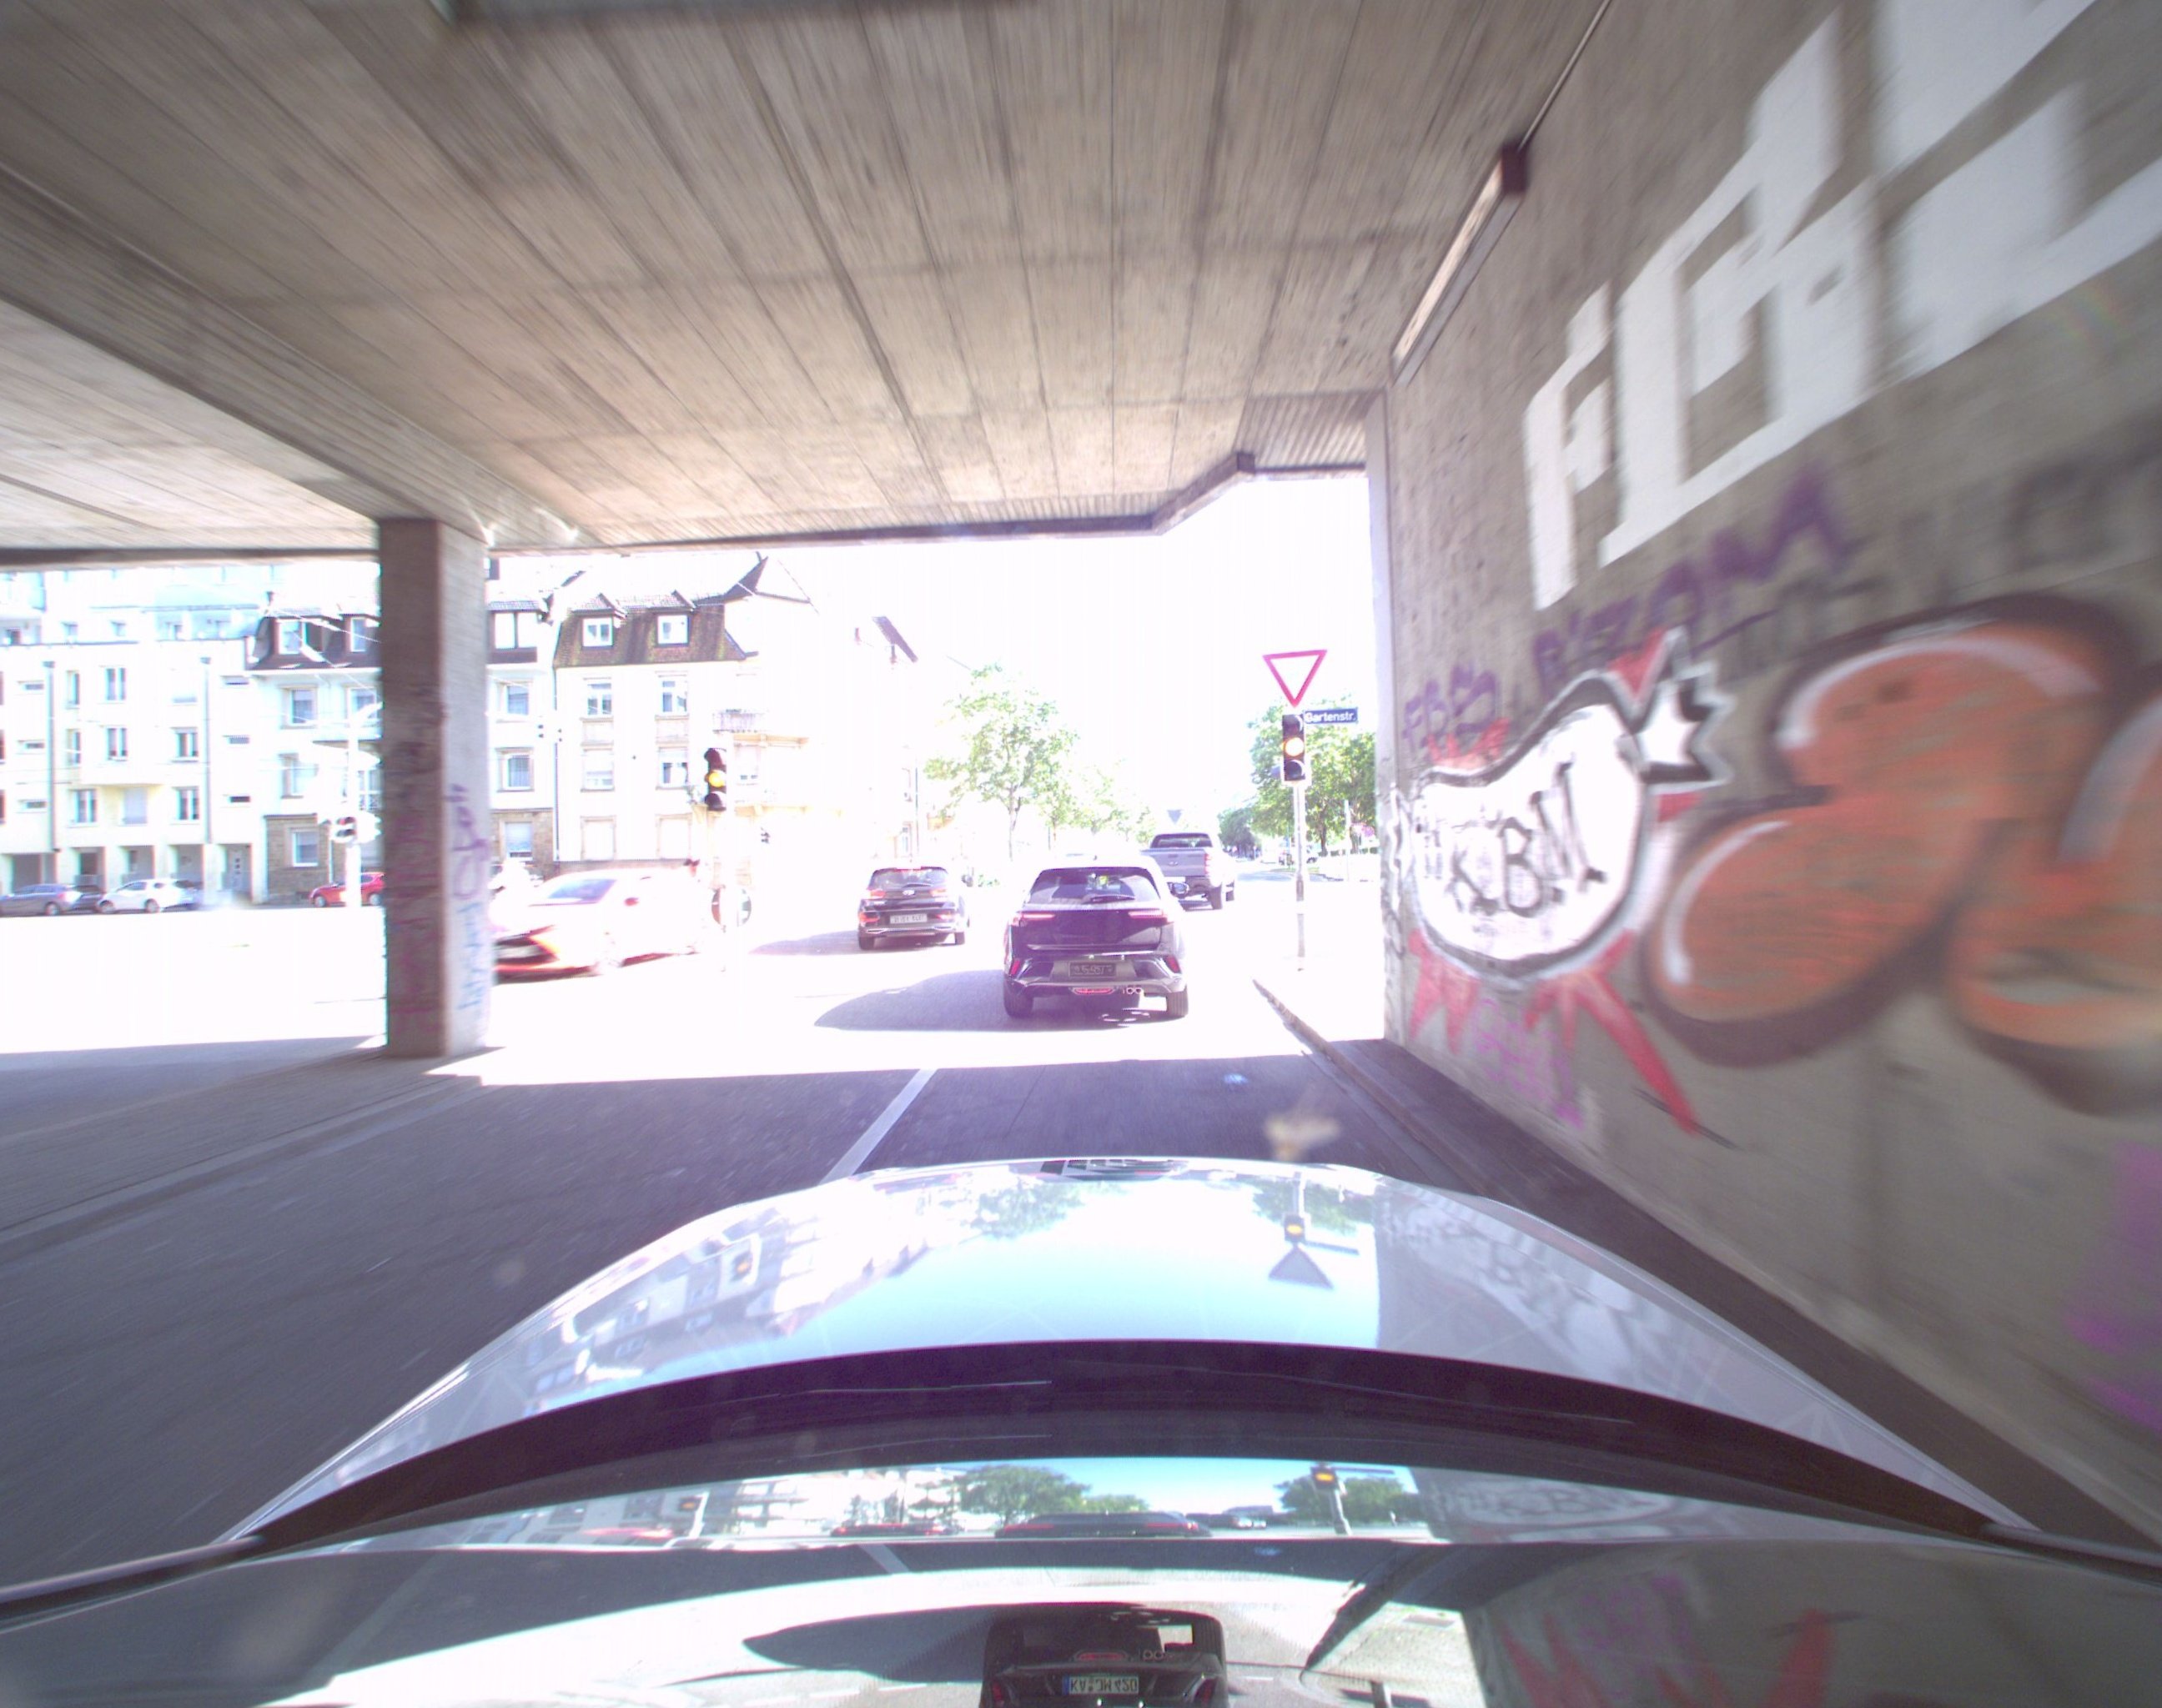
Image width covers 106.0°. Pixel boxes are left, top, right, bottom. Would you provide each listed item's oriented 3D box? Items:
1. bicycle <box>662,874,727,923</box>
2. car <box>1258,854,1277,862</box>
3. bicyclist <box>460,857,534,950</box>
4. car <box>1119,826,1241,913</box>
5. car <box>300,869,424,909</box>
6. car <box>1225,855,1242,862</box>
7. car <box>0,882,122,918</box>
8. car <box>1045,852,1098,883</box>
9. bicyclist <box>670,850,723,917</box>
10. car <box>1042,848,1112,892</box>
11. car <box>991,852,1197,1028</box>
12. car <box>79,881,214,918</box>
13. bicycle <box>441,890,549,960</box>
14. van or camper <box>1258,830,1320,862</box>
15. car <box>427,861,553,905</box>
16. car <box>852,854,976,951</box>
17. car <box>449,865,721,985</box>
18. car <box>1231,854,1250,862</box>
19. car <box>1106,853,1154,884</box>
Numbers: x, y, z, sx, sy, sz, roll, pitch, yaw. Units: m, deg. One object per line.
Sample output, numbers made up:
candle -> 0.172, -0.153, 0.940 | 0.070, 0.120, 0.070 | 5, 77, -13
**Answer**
bicycle -> -10.012, 1.126, 21.160 | 0.539, 1.123, 2.061 | -2, 0, 4
car -> 34.891, 0.715, 152.411 | 3.222, 1.277, 1.521 | -4, -1, 12
bicyclist -> -10.625, 0.879, 14.844 | 0.603, 1.632, 0.910 | -2, 0, 2
car -> 2.597, 0.327, 20.112 | 2.116, 1.835, 4.962 | -2, 0, 17
car -> -32.108, 1.549, 36.429 | 3.861, 1.540, 1.901 | -2, 1, 3
car -> 37.108, 0.987, 197.969 | 3.929, 1.397, 1.518 | -4, -1, 4
car -> -46.267, 2.076, 36.713 | 3.812, 1.362, 1.967 | -2, 1, 4
car -> -0.470, 0.742, 45.726 | 1.871, 1.610, 4.165 | -2, 0, 15
bicyclist -> -10.003, 0.746, 21.209 | 0.778, 1.660, 1.032 | -2, 0, 4
car -> -0.067, 0.564, 31.049 | 1.776, 1.513, 4.130 | -2, 0, 12
car -> 0.217, 0.758, 9.016 | 1.774, 1.517, 3.758 | -1, 0, 3
car -> -41.854, 2.027, 36.528 | 3.812, 1.362, 2.003 | -2, 1, 4
bicycle -> -10.615, 1.260, 14.841 | 0.523, 1.090, 1.861 | -2, 0, 2
van or camper -> 21.921, -0.790, 86.130 | 6.037, 2.928, 2.584 | -4, -1, 12
car -> -26.259, 1.269, 36.280 | 4.142, 1.724, 1.965 | -2, 1, 3
car -> -2.913, 0.769, 15.048 | 1.799, 1.451, 4.316 | -2, 0, -7
car -> -7.186, 0.947, 12.242 | 1.649, 1.441, 3.470 | -2, 0, 7
car -> 35.810, 0.888, 182.975 | 3.929, 1.397, 1.518 | -4, -1, 4
car -> 2.606, 0.726, 42.585 | 1.695, 1.452, 3.867 | -2, 0, 15
